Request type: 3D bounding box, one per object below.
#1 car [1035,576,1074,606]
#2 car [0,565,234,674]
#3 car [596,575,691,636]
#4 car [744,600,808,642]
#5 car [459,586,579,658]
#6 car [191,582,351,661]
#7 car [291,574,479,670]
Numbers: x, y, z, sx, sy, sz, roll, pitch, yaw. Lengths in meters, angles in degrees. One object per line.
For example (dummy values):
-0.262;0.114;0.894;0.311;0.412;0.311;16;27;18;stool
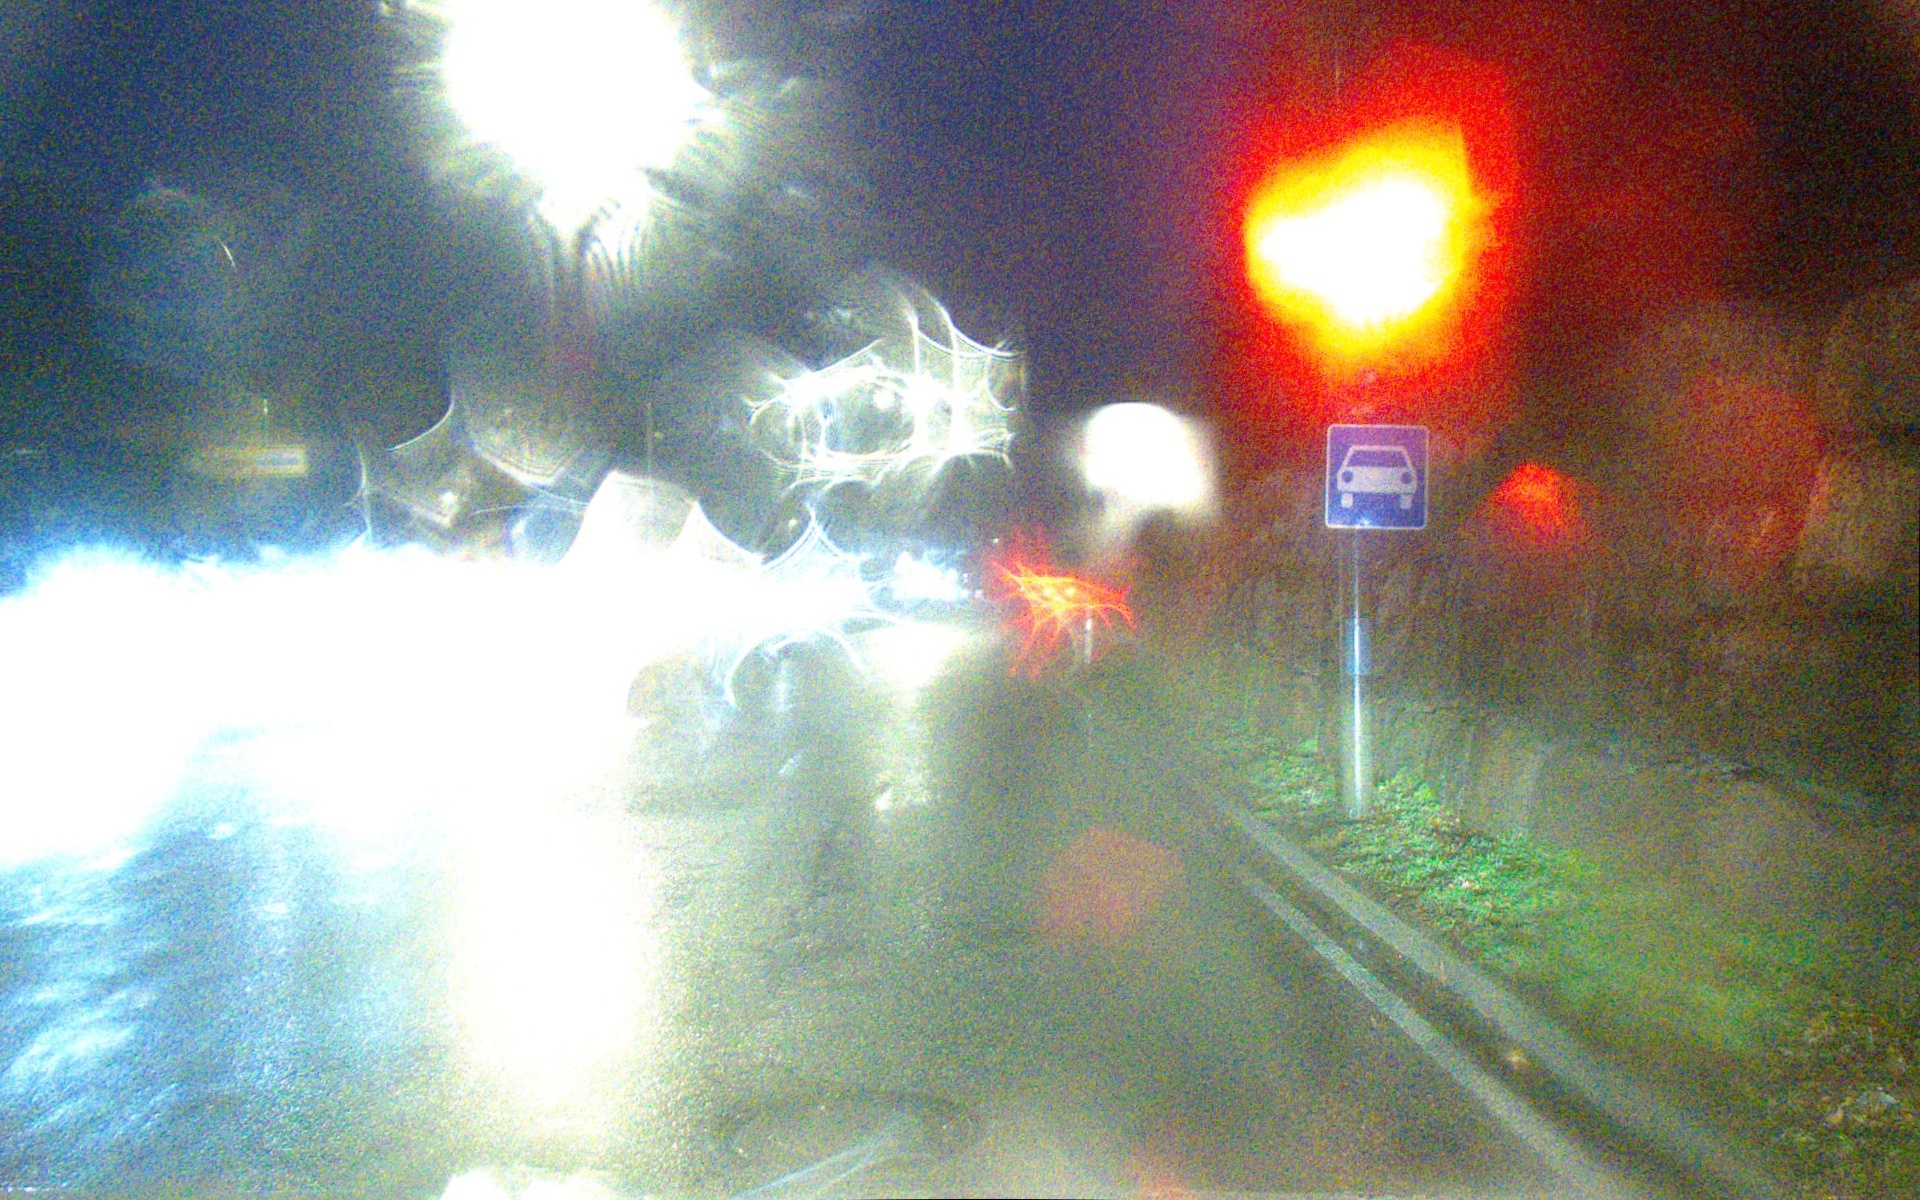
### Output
5.371;-0.488;94.533;1.953;1.639;4.102;0;-1;-1;car
-13.685;0.283;26.730;1.755;1.599;4.913;0;0;-1;car
-9.277;0.168;48.759;1.681;1.733;4.145;0;-1;5;car
-7.189;0.830;64.942;1.672;1.561;4.602;0;-1;4;car
-9.866;0.496;37.263;1.552;1.552;3.653;0;-1;3;car
-13.748;0.435;33.234;1.634;1.479;3.727;0;-1;0;car
-10.304;0.370;30.013;1.663;1.599;4.712;0;0;1;car
